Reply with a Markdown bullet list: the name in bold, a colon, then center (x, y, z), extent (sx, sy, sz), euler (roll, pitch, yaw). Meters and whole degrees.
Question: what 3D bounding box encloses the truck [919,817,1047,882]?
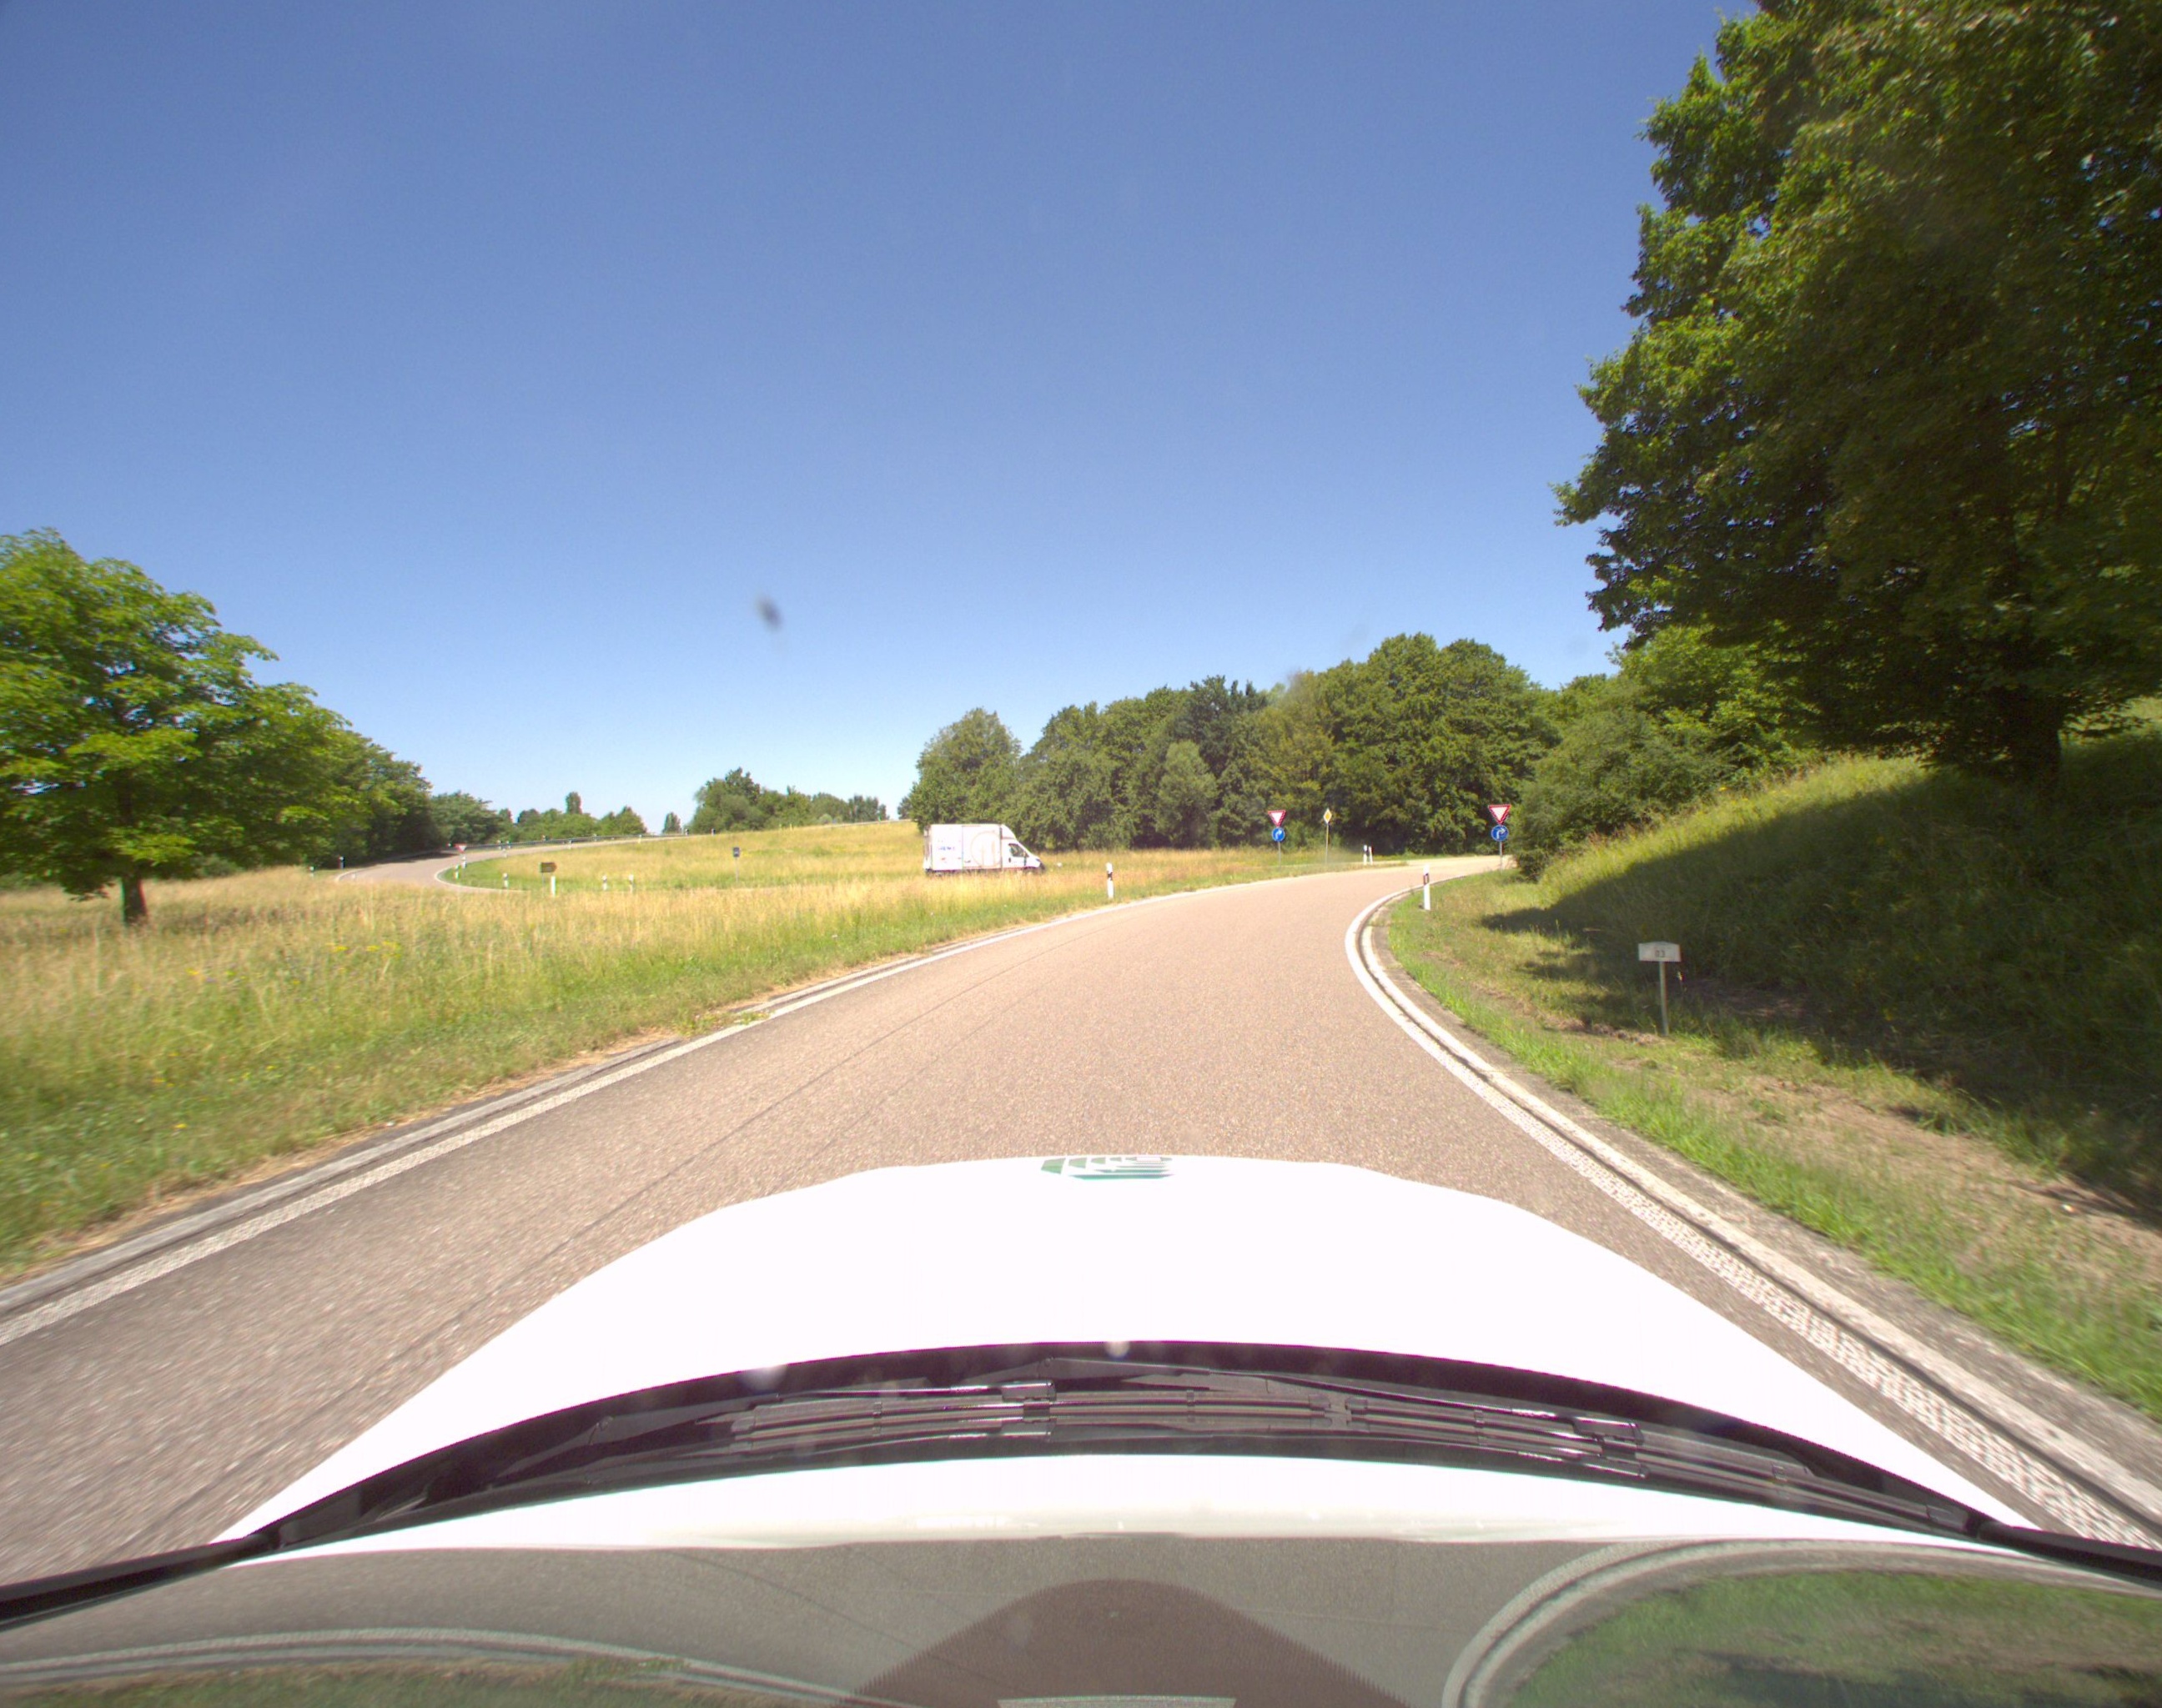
- **truck**: center (-4.854, -0.255, 40.363), extent (5.899, 2.984, 2.231), euler (-2, 0, -23)
